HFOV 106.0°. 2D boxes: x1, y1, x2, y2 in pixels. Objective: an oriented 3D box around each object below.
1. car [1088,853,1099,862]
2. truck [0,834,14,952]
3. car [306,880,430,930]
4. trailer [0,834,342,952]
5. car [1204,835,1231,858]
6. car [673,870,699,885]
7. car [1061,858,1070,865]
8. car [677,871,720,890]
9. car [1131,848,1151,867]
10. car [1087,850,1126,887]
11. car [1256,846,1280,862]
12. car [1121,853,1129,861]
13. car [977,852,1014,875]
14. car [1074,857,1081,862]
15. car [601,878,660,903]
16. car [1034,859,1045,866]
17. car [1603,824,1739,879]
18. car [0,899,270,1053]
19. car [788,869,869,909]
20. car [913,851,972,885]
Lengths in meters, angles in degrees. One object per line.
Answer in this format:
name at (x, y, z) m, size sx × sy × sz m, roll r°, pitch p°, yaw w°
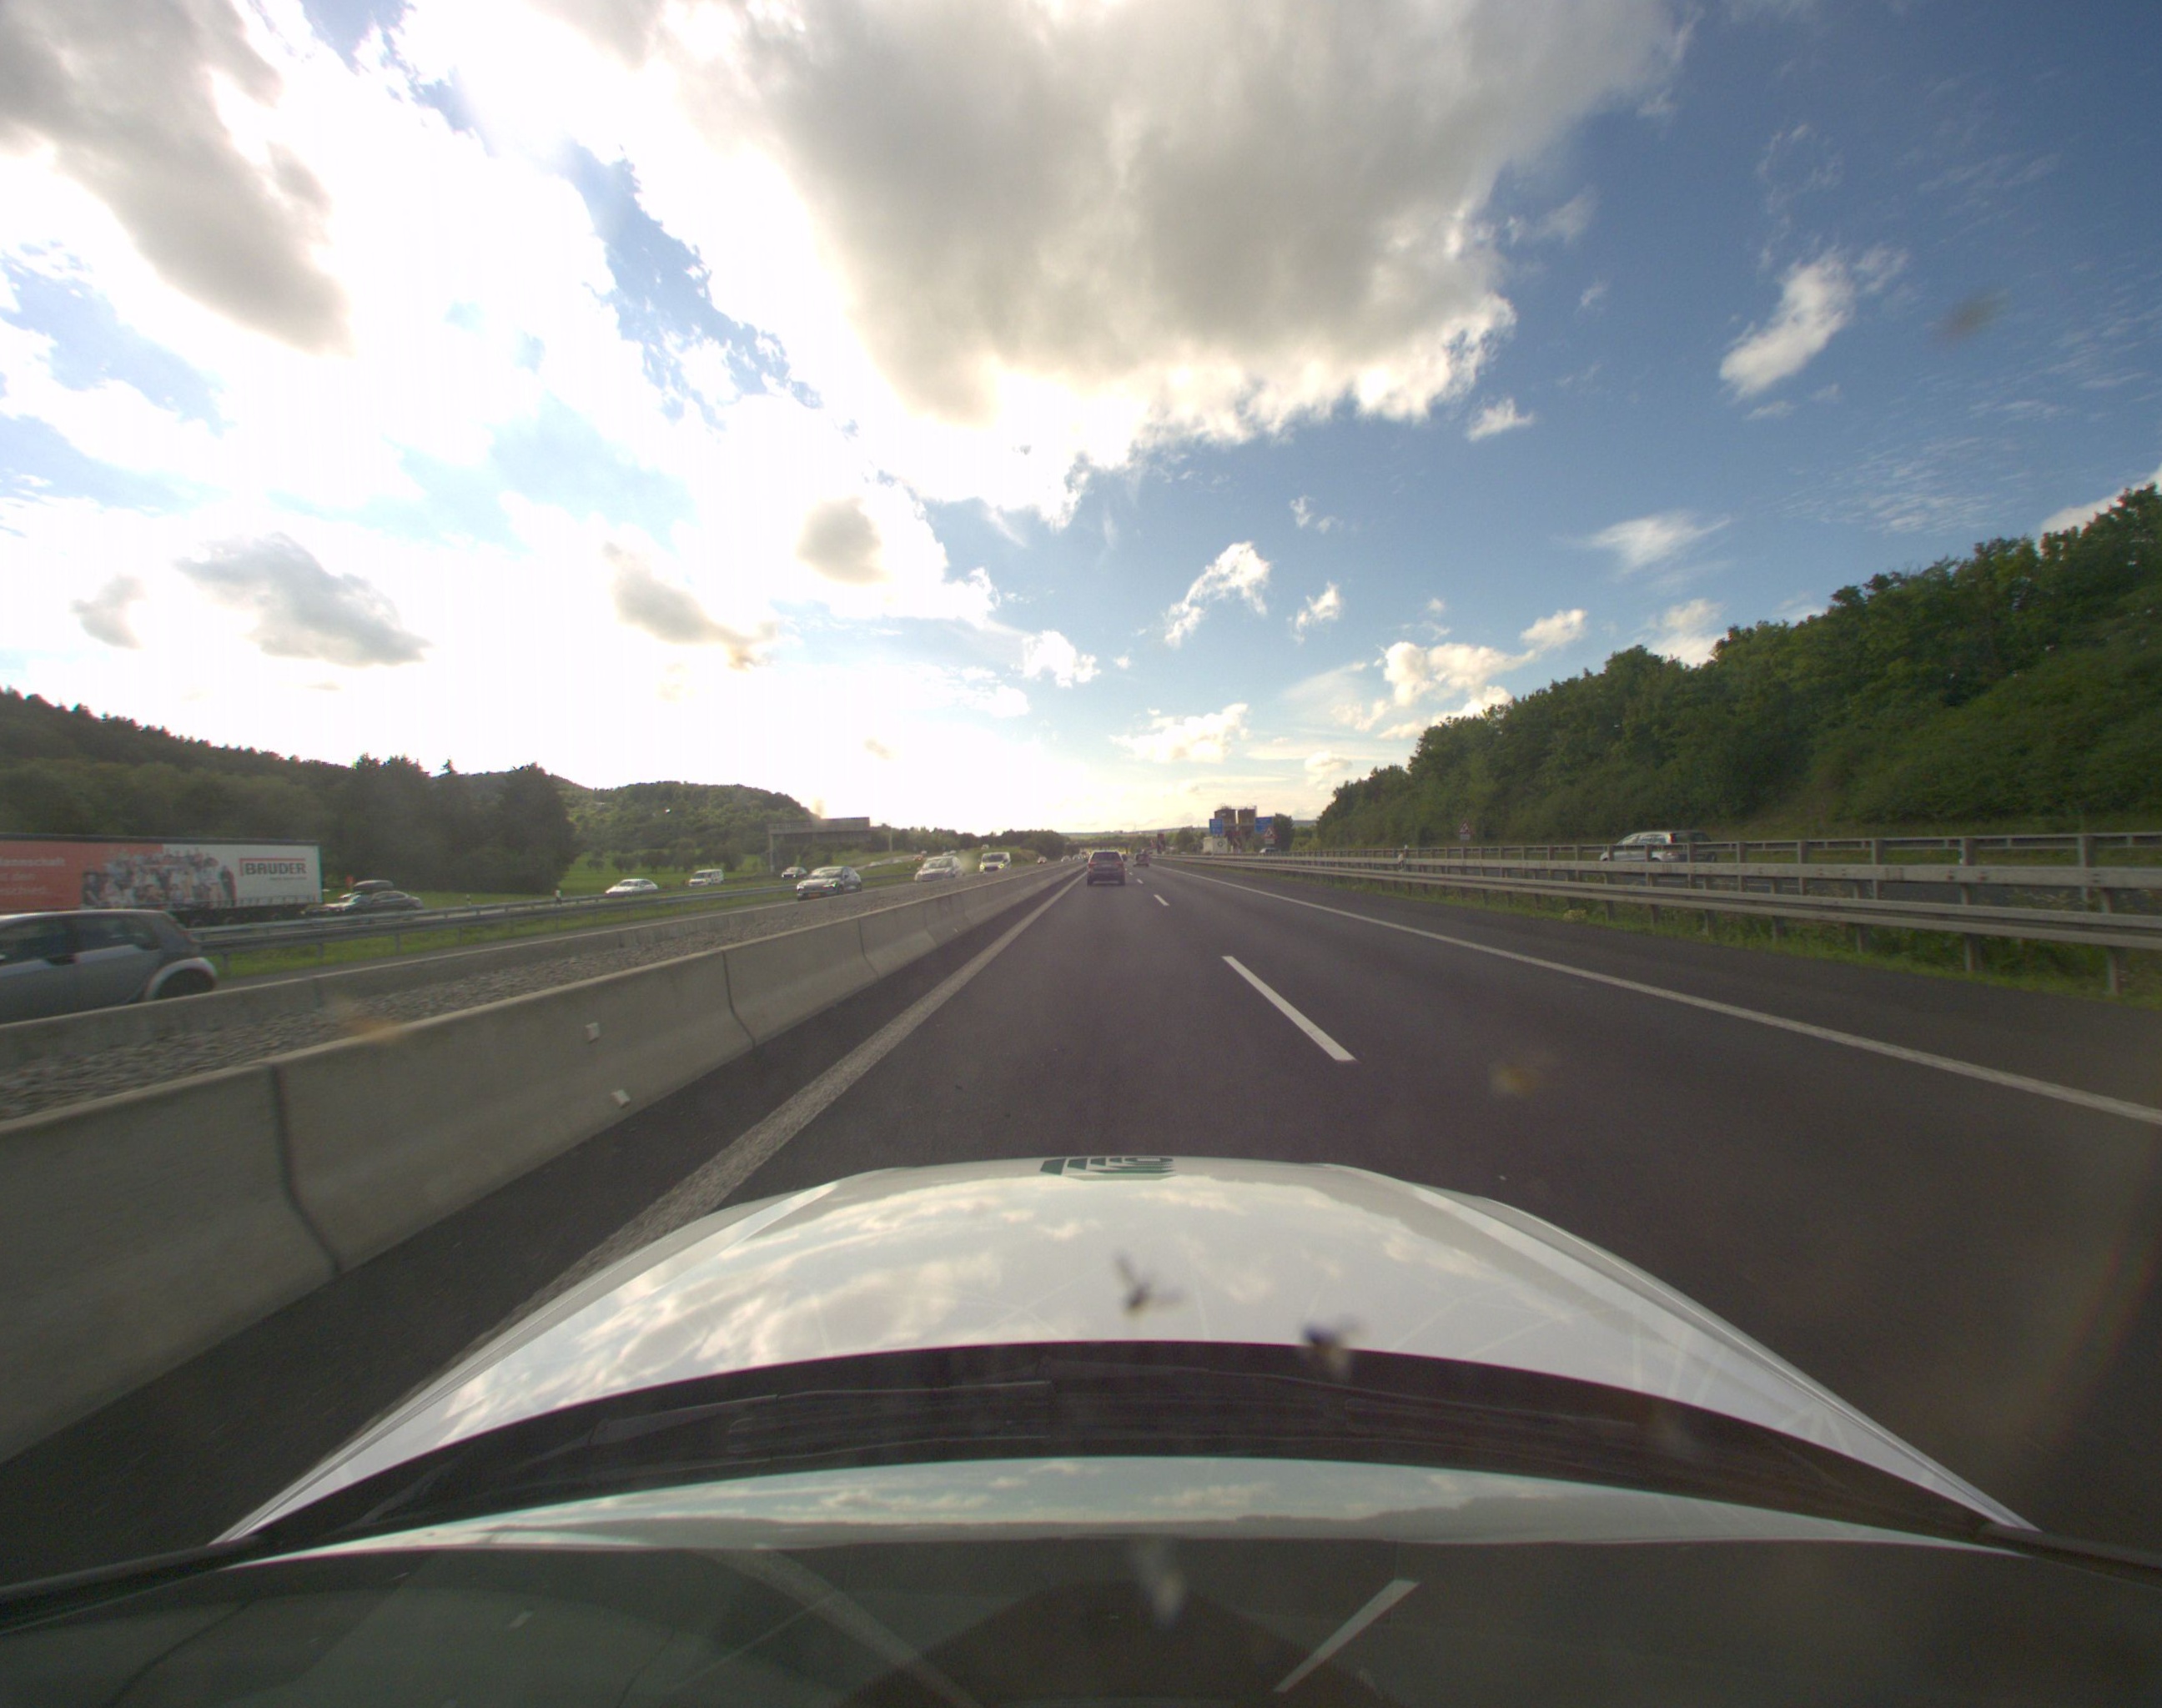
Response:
car at (2.923, 0.853, 184.230) m, size 2.160 × 1.843 × 4.003 m, roll -3°, pitch 0°, yaw 3°
truck at (-35.339, 1.284, 23.592) m, size 1.989 × 3.761 × 5.145 m, roll -3°, pitch 0°, yaw -3°
car at (-32.134, 2.240, 36.892) m, size 1.768 × 1.897 × 4.394 m, roll -3°, pitch 0°, yaw -3°
trailer at (-35.648, 1.340, 31.698) m, size 1.988 × 3.737 × 13.233 m, roll -3°, pitch 0°, yaw -2°
car at (23.976, -1.328, 143.643) m, size 3.563 × 3.676 × 7.552 m, roll -3°, pitch 0°, yaw 2°
car at (-61.653, 3.639, 127.137) m, size 1.988 × 2.013 × 3.997 m, roll -3°, pitch 0°, yaw -2°
car at (-3.152, 1.576, 165.926) m, size 1.635 × 1.398 × 3.743 m, roll -3°, pitch 0°, yaw 2°
car at (-35.320, 2.437, 75.368) m, size 1.769 × 1.548 × 4.884 m, roll -3°, pitch 0°, yaw -3°
car at (6.916, 0.428, 93.981) m, size 1.986 × 2.080 × 4.002 m, roll -3°, pitch 0°, yaw 2°
car at (1.304, 0.682, 40.459) m, size 1.742 × 1.630 × 3.612 m, roll -3°, pitch 0°, yaw 3°
car at (21.912, -0.043, 95.593) m, size 1.986 × 1.717 × 4.002 m, roll -3°, pitch 0°, yaw 2°
car at (11.067, 0.819, 204.526) m, size 1.967 × 1.779 × 4.122 m, roll -3°, pitch 0°, yaw 2°
car at (-6.448, 0.682, 62.073) m, size 1.986 × 1.532 × 5.749 m, roll -3°, pitch 0°, yaw 2°
car at (-0.883, 1.414, 214.786) m, size 1.781 × 1.398 × 4.727 m, roll -3°, pitch 0°, yaw 2°
car at (-29.778, 2.375, 53.932) m, size 1.770 × 1.400 × 4.389 m, roll -3°, pitch 0°, yaw -6°
car at (-8.138, 1.646, 161.311) m, size 1.721 × 1.398 × 4.160 m, roll -3°, pitch 0°, yaw 2°
car at (21.066, -0.081, 29.298) m, size 1.986 × 1.708 × 4.002 m, roll -3°, pitch 0°, yaw 2°
car at (-12.274, 1.404, 9.151) m, size 1.986 × 1.456 × 4.183 m, roll -3°, pitch 0°, yaw 2°
car at (-11.181, 1.513, 36.424) m, size 1.986 × 1.532 × 4.509 m, roll -3°, pitch 0°, yaw 1°
car at (-7.059, 0.710, 41.969) m, size 1.986 × 1.532 × 5.023 m, roll -3°, pitch 0°, yaw 2°
